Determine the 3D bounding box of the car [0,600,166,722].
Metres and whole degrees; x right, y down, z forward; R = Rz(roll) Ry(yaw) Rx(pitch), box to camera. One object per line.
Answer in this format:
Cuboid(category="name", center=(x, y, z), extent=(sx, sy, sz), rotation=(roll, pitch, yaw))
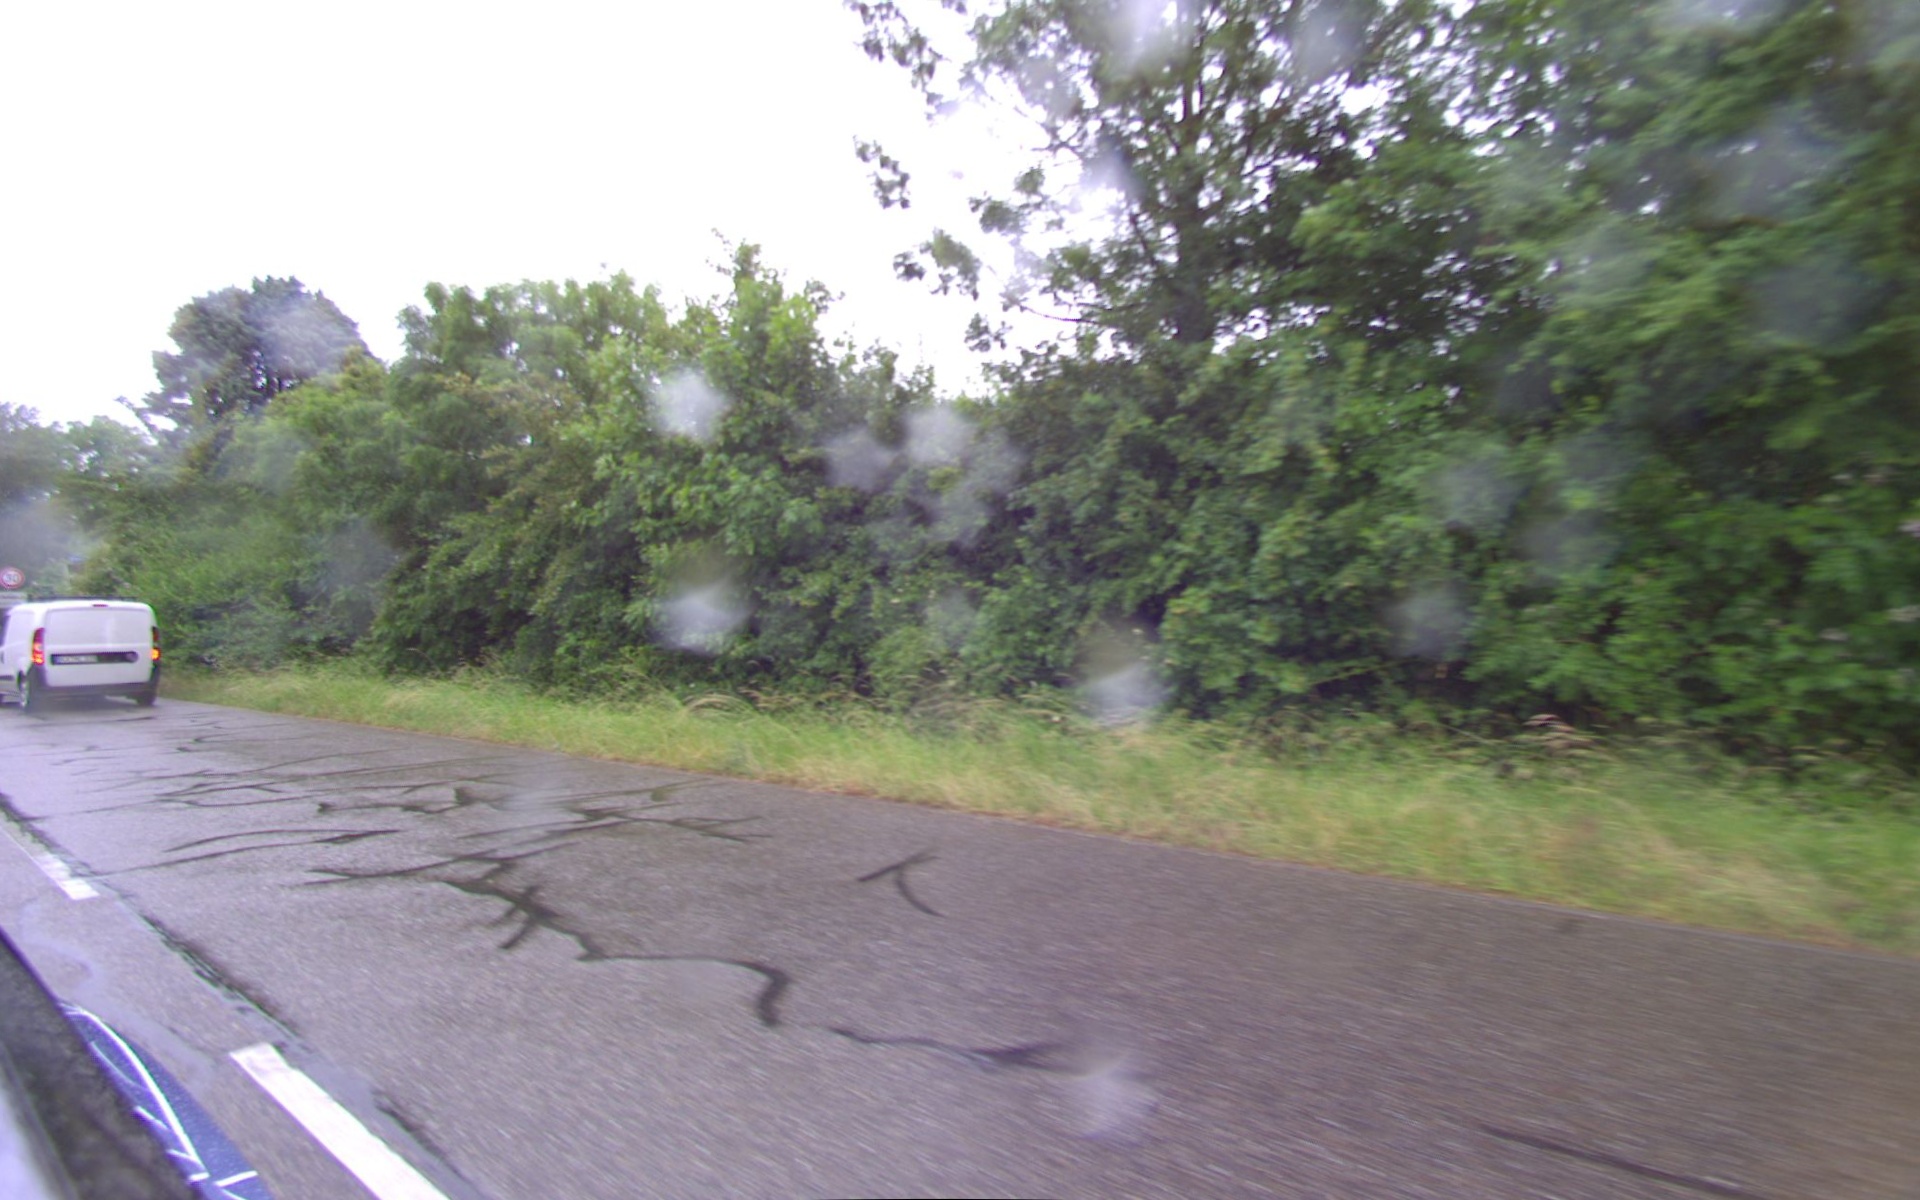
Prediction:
Cuboid(category="car", center=(-15.584, 0.974, 17.605), extent=(3.947, 1.878, 1.815), rotation=(-1, 0, 37))
